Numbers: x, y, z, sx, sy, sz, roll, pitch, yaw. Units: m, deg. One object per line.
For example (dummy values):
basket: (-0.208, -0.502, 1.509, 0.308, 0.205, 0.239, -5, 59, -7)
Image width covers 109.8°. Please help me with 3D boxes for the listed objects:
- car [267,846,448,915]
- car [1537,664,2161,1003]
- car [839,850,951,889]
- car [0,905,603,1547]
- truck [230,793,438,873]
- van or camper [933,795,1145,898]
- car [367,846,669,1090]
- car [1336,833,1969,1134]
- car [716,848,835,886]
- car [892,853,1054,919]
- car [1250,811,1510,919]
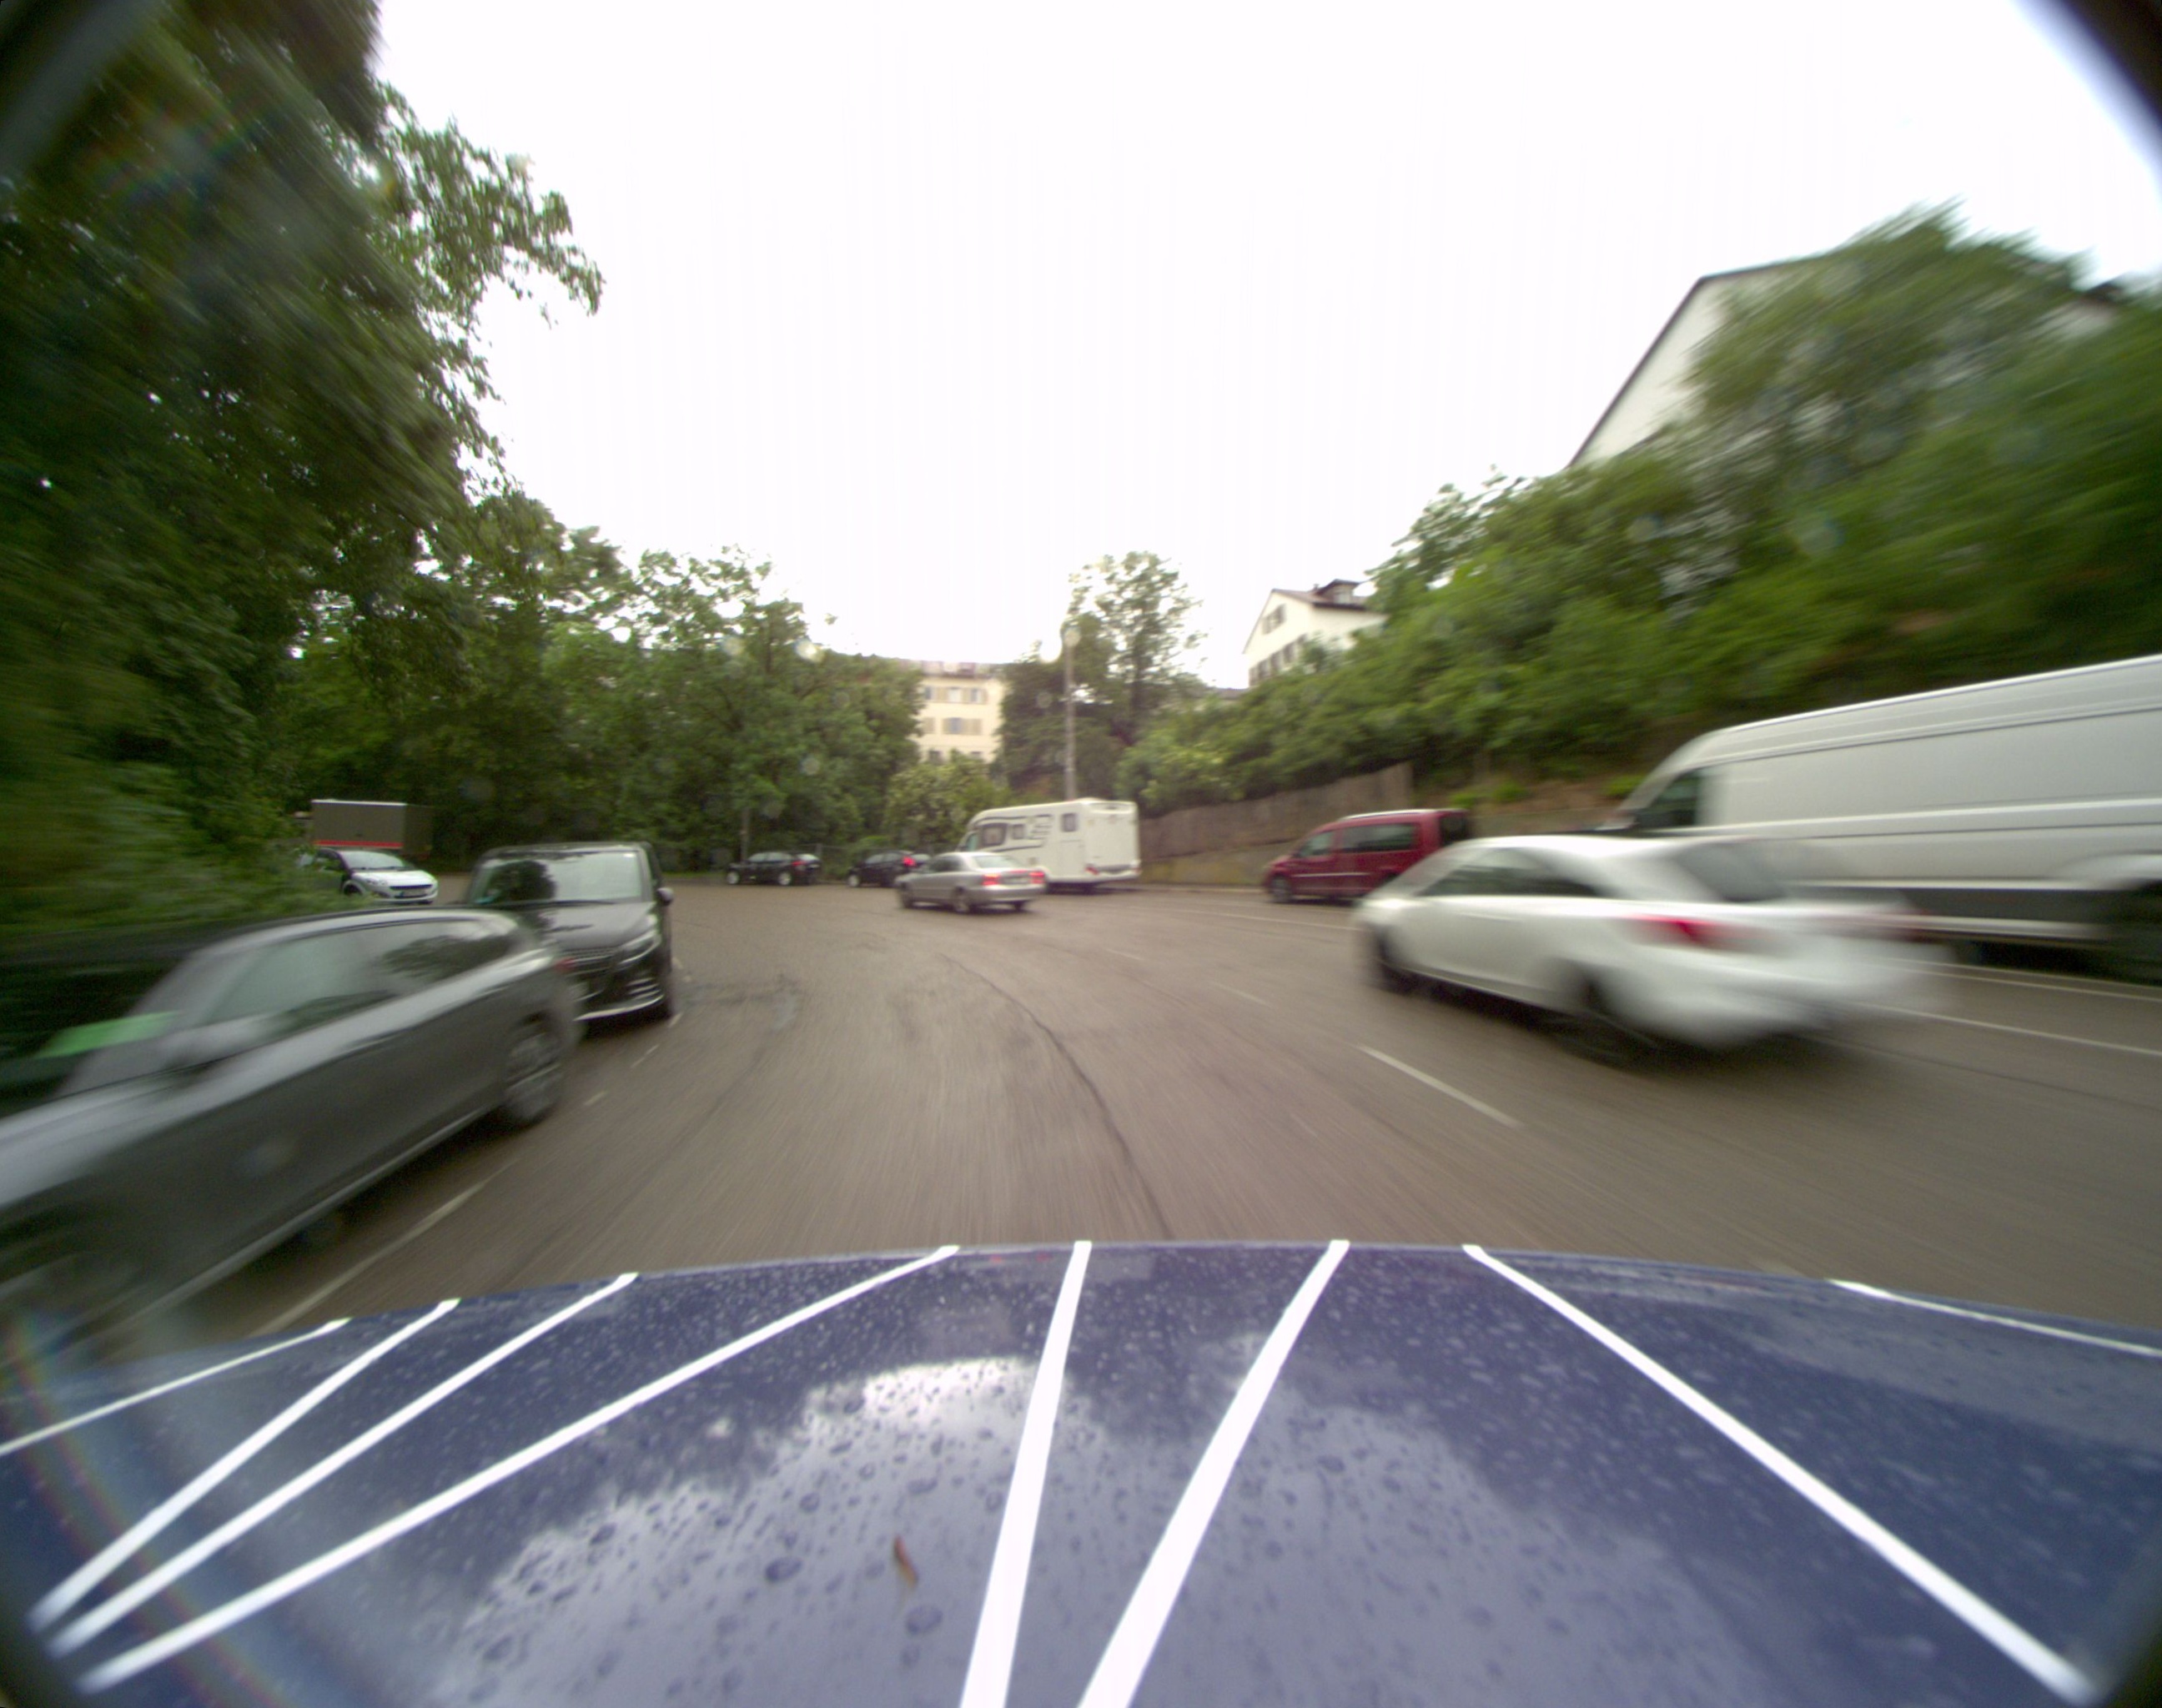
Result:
car: (-18.308, 0.605, 19.264, 3.693, 1.439, 1.666, 3, 2, 15)
car: (8.491, -0.192, 7.977, 2.042, 2.516, 6.814, -3, 1, -14)
car: (-7.231, 0.560, 29.501, 4.120, 1.403, 1.919, 0, 0, 33)
car: (-4.139, 1.182, 3.158, 1.907, 1.479, 4.869, -3, 1, -11)
truck: (-31.571, -0.804, 32.365, 5.950, 3.041, 2.229, 2, -1, -13)
van or camper: (-1.616, -0.249, 25.182, 7.504, 2.950, 2.463, 0, 2, 43)
car: (-6.011, 0.921, 8.846, 2.002, 1.876, 5.024, -4, 2, -28)
car: (3.737, 0.675, 6.013, 1.607, 1.487, 4.030, -3, 0, -7)
car: (-12.804, 0.511, 31.864, 4.361, 1.455, 2.002, 1, 1, 19)
car: (-2.737, 0.687, 18.460, 1.794, 1.377, 4.326, -2, 1, -41)
car: (6.007, 0.183, 15.922, 2.003, 1.865, 4.810, -3, 1, -30)
